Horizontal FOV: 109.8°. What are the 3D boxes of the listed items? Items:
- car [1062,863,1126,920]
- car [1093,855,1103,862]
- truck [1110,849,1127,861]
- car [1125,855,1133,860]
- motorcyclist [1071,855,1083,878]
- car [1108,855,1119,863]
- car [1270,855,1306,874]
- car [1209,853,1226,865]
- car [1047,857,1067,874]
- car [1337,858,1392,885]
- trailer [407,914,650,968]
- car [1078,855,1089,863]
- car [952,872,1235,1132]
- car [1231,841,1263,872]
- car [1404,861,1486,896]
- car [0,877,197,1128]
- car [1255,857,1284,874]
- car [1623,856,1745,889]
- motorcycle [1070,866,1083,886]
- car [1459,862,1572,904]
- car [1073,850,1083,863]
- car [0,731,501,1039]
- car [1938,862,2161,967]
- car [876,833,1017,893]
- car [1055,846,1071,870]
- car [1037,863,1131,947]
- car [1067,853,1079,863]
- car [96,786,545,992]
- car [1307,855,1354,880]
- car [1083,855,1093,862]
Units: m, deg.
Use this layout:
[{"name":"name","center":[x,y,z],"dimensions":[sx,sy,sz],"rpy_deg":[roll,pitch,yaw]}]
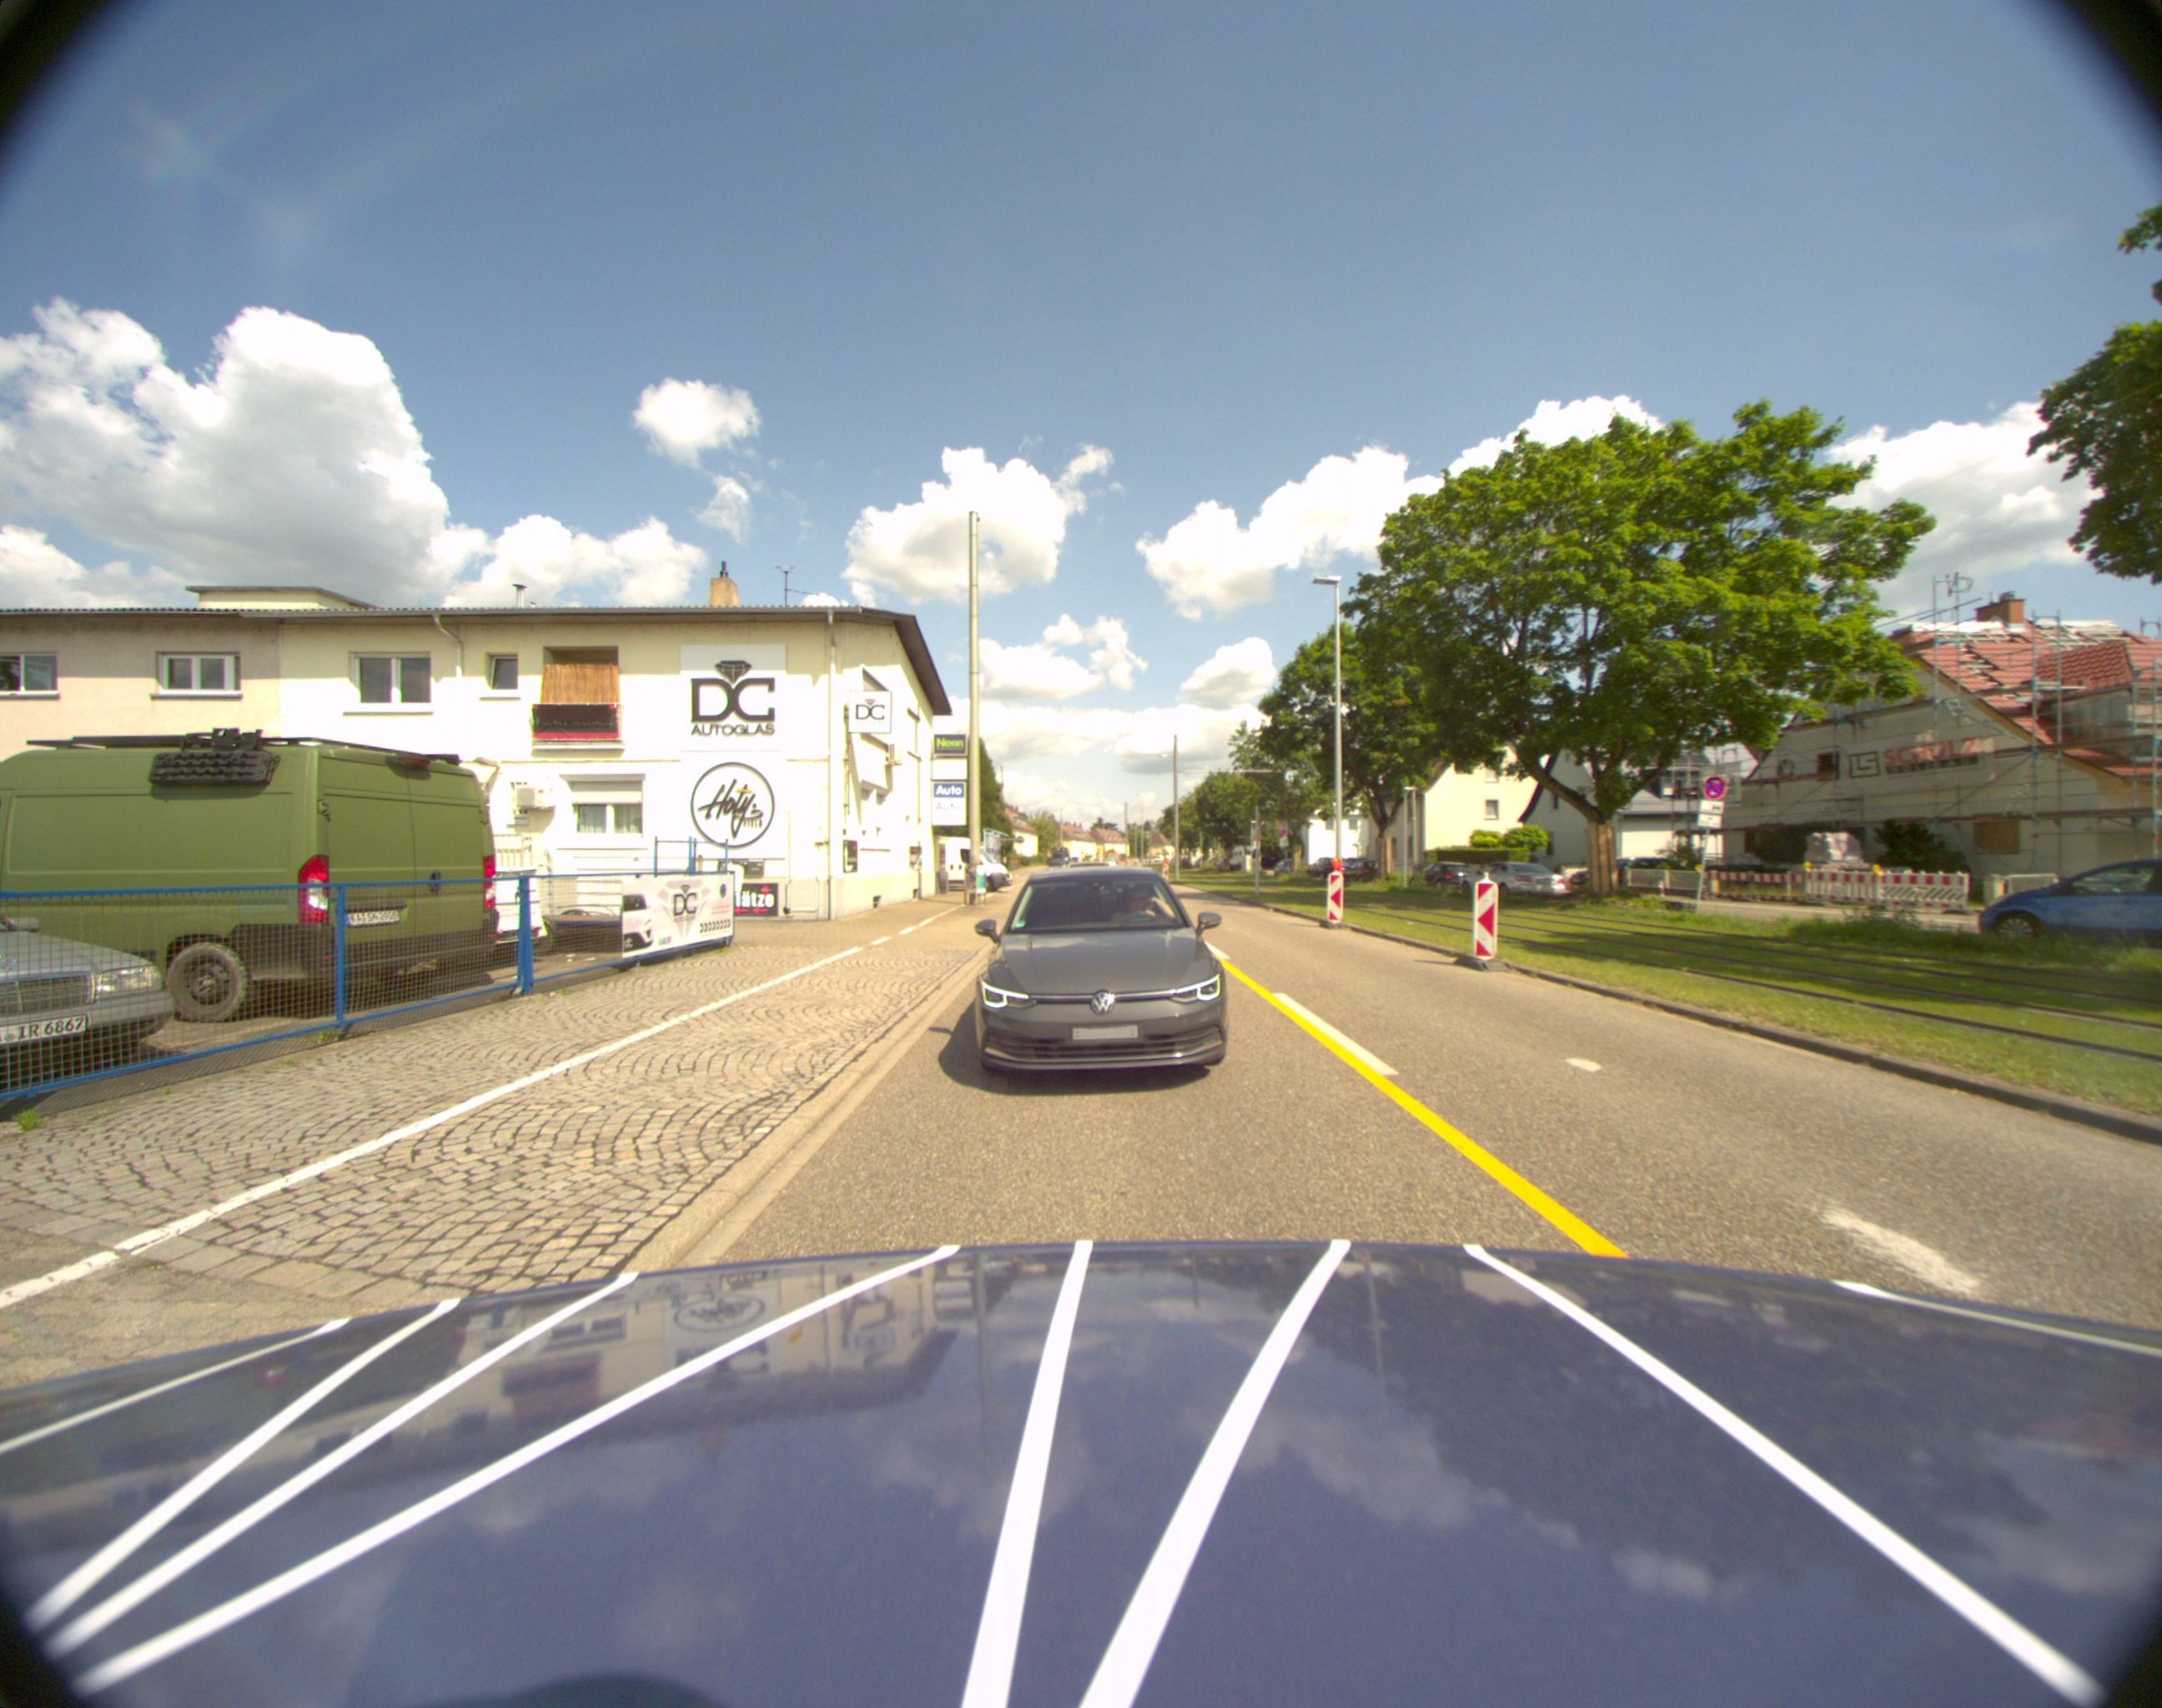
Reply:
[{"name":"car","center":[0.385,1.013,22.253],"dimensions":[1.702,1.477,4.000],"rpy_deg":[0,0,1]},{"name":"car","center":[3.845,0.926,173.599],"dimensions":[1.700,1.574,4.004],"rpy_deg":[0,0,12]},{"name":"truck","center":[9.909,0.159,201.054],"dimensions":[2.710,3.119,8.124],"rpy_deg":[0,0,15]},{"name":"car","center":[13.819,0.962,218.685],"dimensions":[1.700,1.574,4.005],"rpy_deg":[0,0,16]},{"name":"motorcyclist","center":[-0.238,0.695,42.055],"dimensions":[0.659,1.284,0.779],"rpy_deg":[0,0,0]},{"name":"car","center":[6.246,0.958,145.518],"dimensions":[2.118,1.477,4.406],"rpy_deg":[0,0,2]},{"name":"car","center":[16.644,0.882,61.284],"dimensions":[1.702,1.477,4.407],"rpy_deg":[-1,-1,1]},{"name":"car","center":[18.770,0.684,104.735],"dimensions":[1.701,1.477,4.407],"rpy_deg":[-1,-1,2]},{"name":"car","center":[-2.185,1.053,70.756],"dimensions":[1.702,1.574,4.000],"rpy_deg":[0,0,1]},{"name":"car","center":[16.771,1.040,45.158],"dimensions":[1.702,1.477,4.407],"rpy_deg":[-1,-1,1]},{"name":"trailer","center":[-8.365,1.308,11.662],"dimensions":[2.733,0.662,1.329],"rpy_deg":[0,0,-1]},{"name":"car","center":[0.484,0.914,146.709],"dimensions":[1.701,1.574,4.002],"rpy_deg":[0,0,6]},{"name":"car","center":[0.101,0.937,6.573],"dimensions":[1.702,1.477,4.000],"rpy_deg":[0,0,1]},{"name":"car","center":[16.818,0.283,77.350],"dimensions":[2.136,3.019,5.084],"rpy_deg":[-1,-1,1]},{"name":"car","center":[16.627,1.125,34.940],"dimensions":[1.702,1.477,4.407],"rpy_deg":[-1,-1,1]},{"name":"car","center":[-8.456,0.889,4.776],"dimensions":[4.282,1.444,1.713],"rpy_deg":[0,0,8]},{"name":"car","center":[17.646,1.084,71.330],"dimensions":[1.702,1.477,4.407],"rpy_deg":[-1,-1,1]},{"name":"car","center":[28.907,0.895,36.514],"dimensions":[4.402,1.477,1.704],"rpy_deg":[-1,-1,1]},{"name":"motorcycle","center":[-0.244,1.176,41.926],"dimensions":[0.659,1.040,2.111],"rpy_deg":[0,0,0]},{"name":"car","center":[16.408,1.071,28.983],"dimensions":[1.788,1.477,4.523],"rpy_deg":[-1,-1,2]},{"name":"car","center":[-0.495,0.431,136.212],"dimensions":[1.701,2.233,4.947],"rpy_deg":[0,0,2]},{"name":"car","center":[-8.723,0.272,7.612],"dimensions":[4.207,2.627,2.113],"rpy_deg":[0,0,2]},{"name":"car","center":[16.195,0.869,11.402],"dimensions":[1.702,1.477,4.407],"rpy_deg":[-1,-1,1]},{"name":"car","center":[-5.941,0.392,34.055],"dimensions":[5.836,2.449,2.092],"rpy_deg":[2,0,1]},{"name":"car","center":[-1.913,0.456,82.441],"dimensions":[1.702,2.510,5.144],"rpy_deg":[0,0,0]},{"name":"car","center":[0.080,0.943,15.730],"dimensions":[1.702,1.477,4.000],"rpy_deg":[0,0,1]},{"name":"car","center":[-1.315,0.682,123.042],"dimensions":[1.701,1.574,4.001],"rpy_deg":[0,0,3]},{"name":"car","center":[-9.500,0.418,9.704],"dimensions":[4.207,2.392,1.586],"rpy_deg":[0,0,2]},{"name":"car","center":[16.555,0.904,50.664],"dimensions":[1.702,1.562,4.407],"rpy_deg":[-1,-1,1]},{"name":"car","center":[1.442,0.918,155.840],"dimensions":[1.701,1.574,4.002],"rpy_deg":[0,0,7]}]
